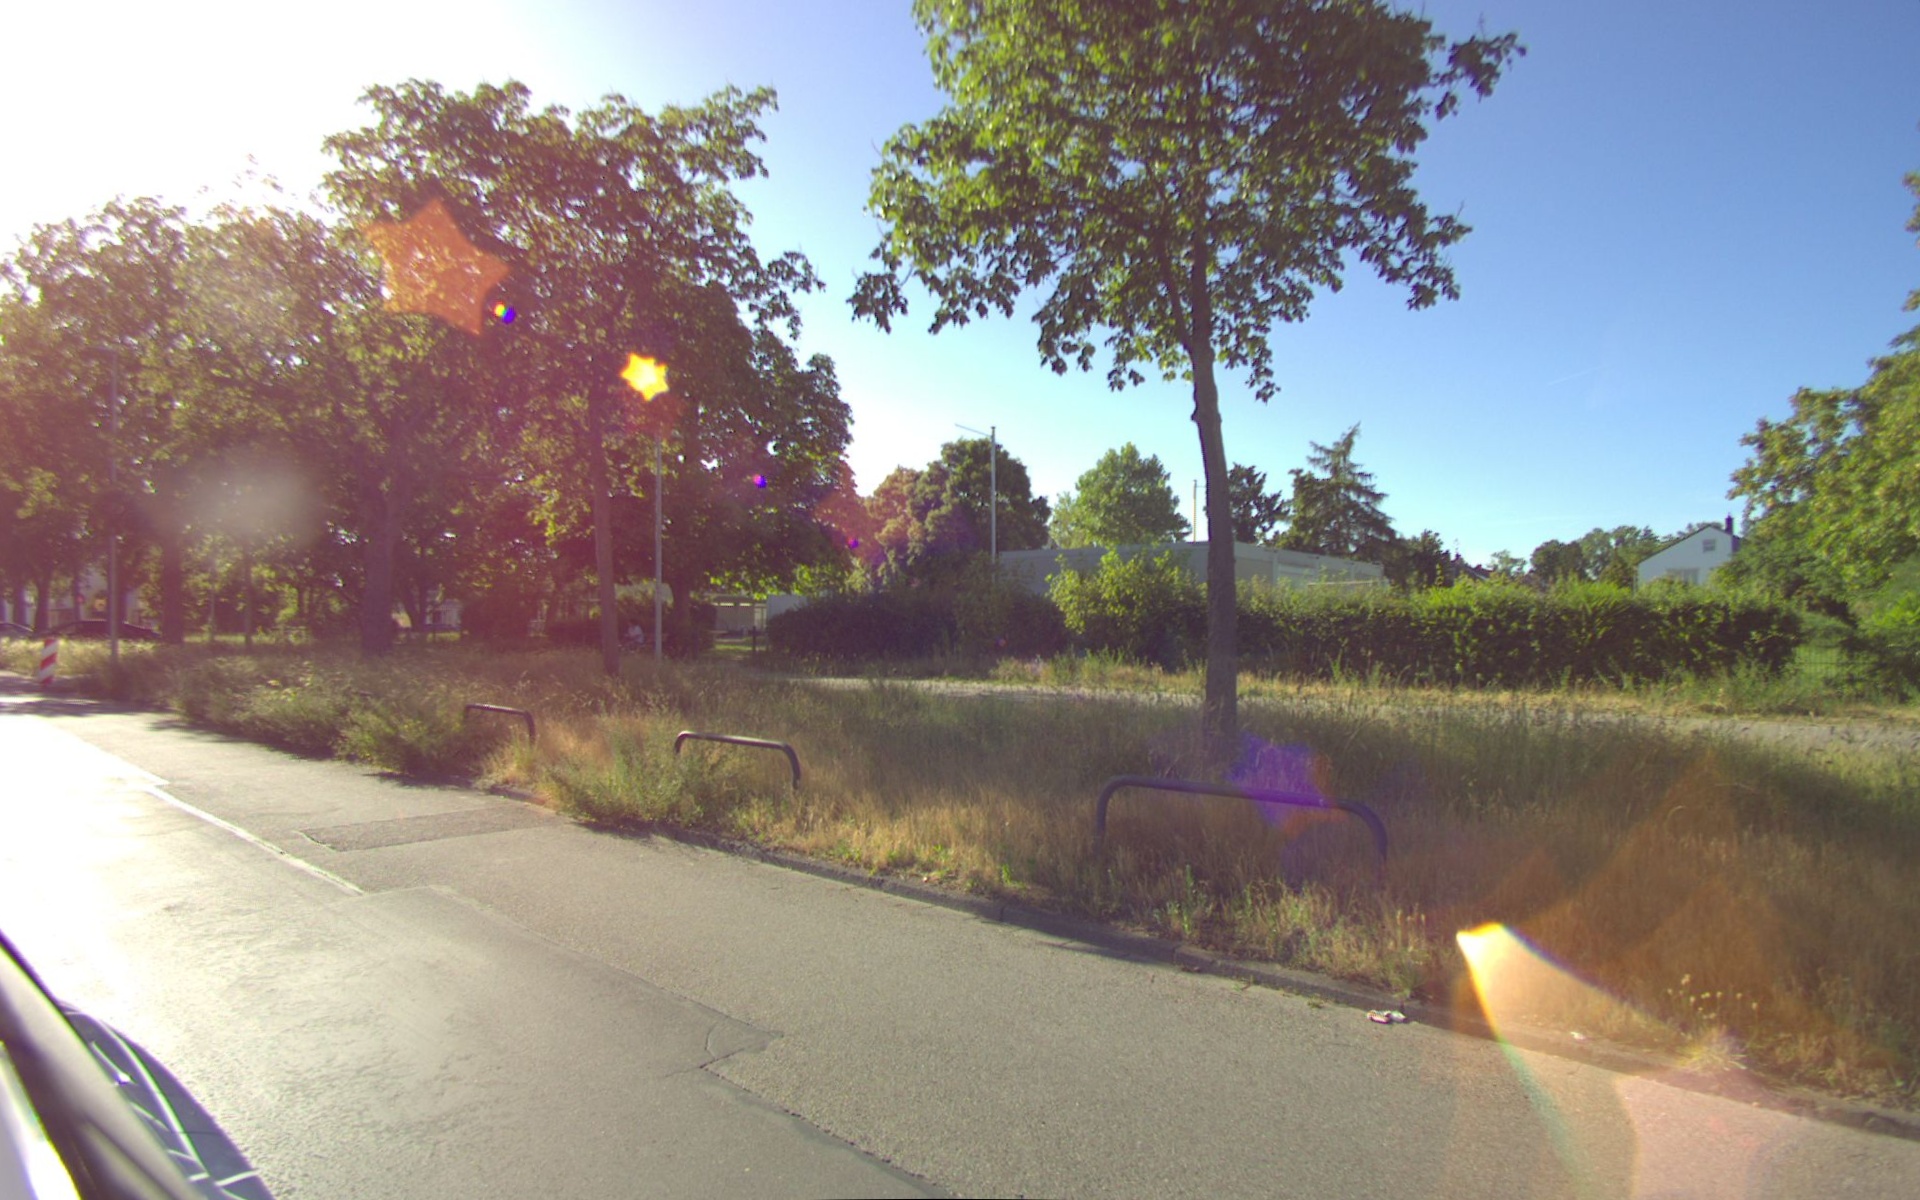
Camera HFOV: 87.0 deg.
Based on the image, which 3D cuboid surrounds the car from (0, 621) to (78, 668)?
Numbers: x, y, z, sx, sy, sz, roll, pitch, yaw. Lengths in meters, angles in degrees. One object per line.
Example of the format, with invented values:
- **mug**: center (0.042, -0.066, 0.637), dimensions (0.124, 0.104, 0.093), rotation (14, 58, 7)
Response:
- **car**: center (-33.918, 1.558, 35.285), dimensions (1.999, 1.573, 4.556), rotation (-1, -1, 41)

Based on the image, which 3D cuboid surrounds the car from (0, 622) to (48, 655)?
- **car**: center (-47.671, 1.886, 49.641), dimensions (1.999, 1.573, 4.150), rotation (-1, -1, 41)

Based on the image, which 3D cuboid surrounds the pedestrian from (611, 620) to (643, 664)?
- **pedestrian**: center (-9.299, 1.167, 28.295), dimensions (0.521, 1.166, 0.631), rotation (-1, 2, 39)
